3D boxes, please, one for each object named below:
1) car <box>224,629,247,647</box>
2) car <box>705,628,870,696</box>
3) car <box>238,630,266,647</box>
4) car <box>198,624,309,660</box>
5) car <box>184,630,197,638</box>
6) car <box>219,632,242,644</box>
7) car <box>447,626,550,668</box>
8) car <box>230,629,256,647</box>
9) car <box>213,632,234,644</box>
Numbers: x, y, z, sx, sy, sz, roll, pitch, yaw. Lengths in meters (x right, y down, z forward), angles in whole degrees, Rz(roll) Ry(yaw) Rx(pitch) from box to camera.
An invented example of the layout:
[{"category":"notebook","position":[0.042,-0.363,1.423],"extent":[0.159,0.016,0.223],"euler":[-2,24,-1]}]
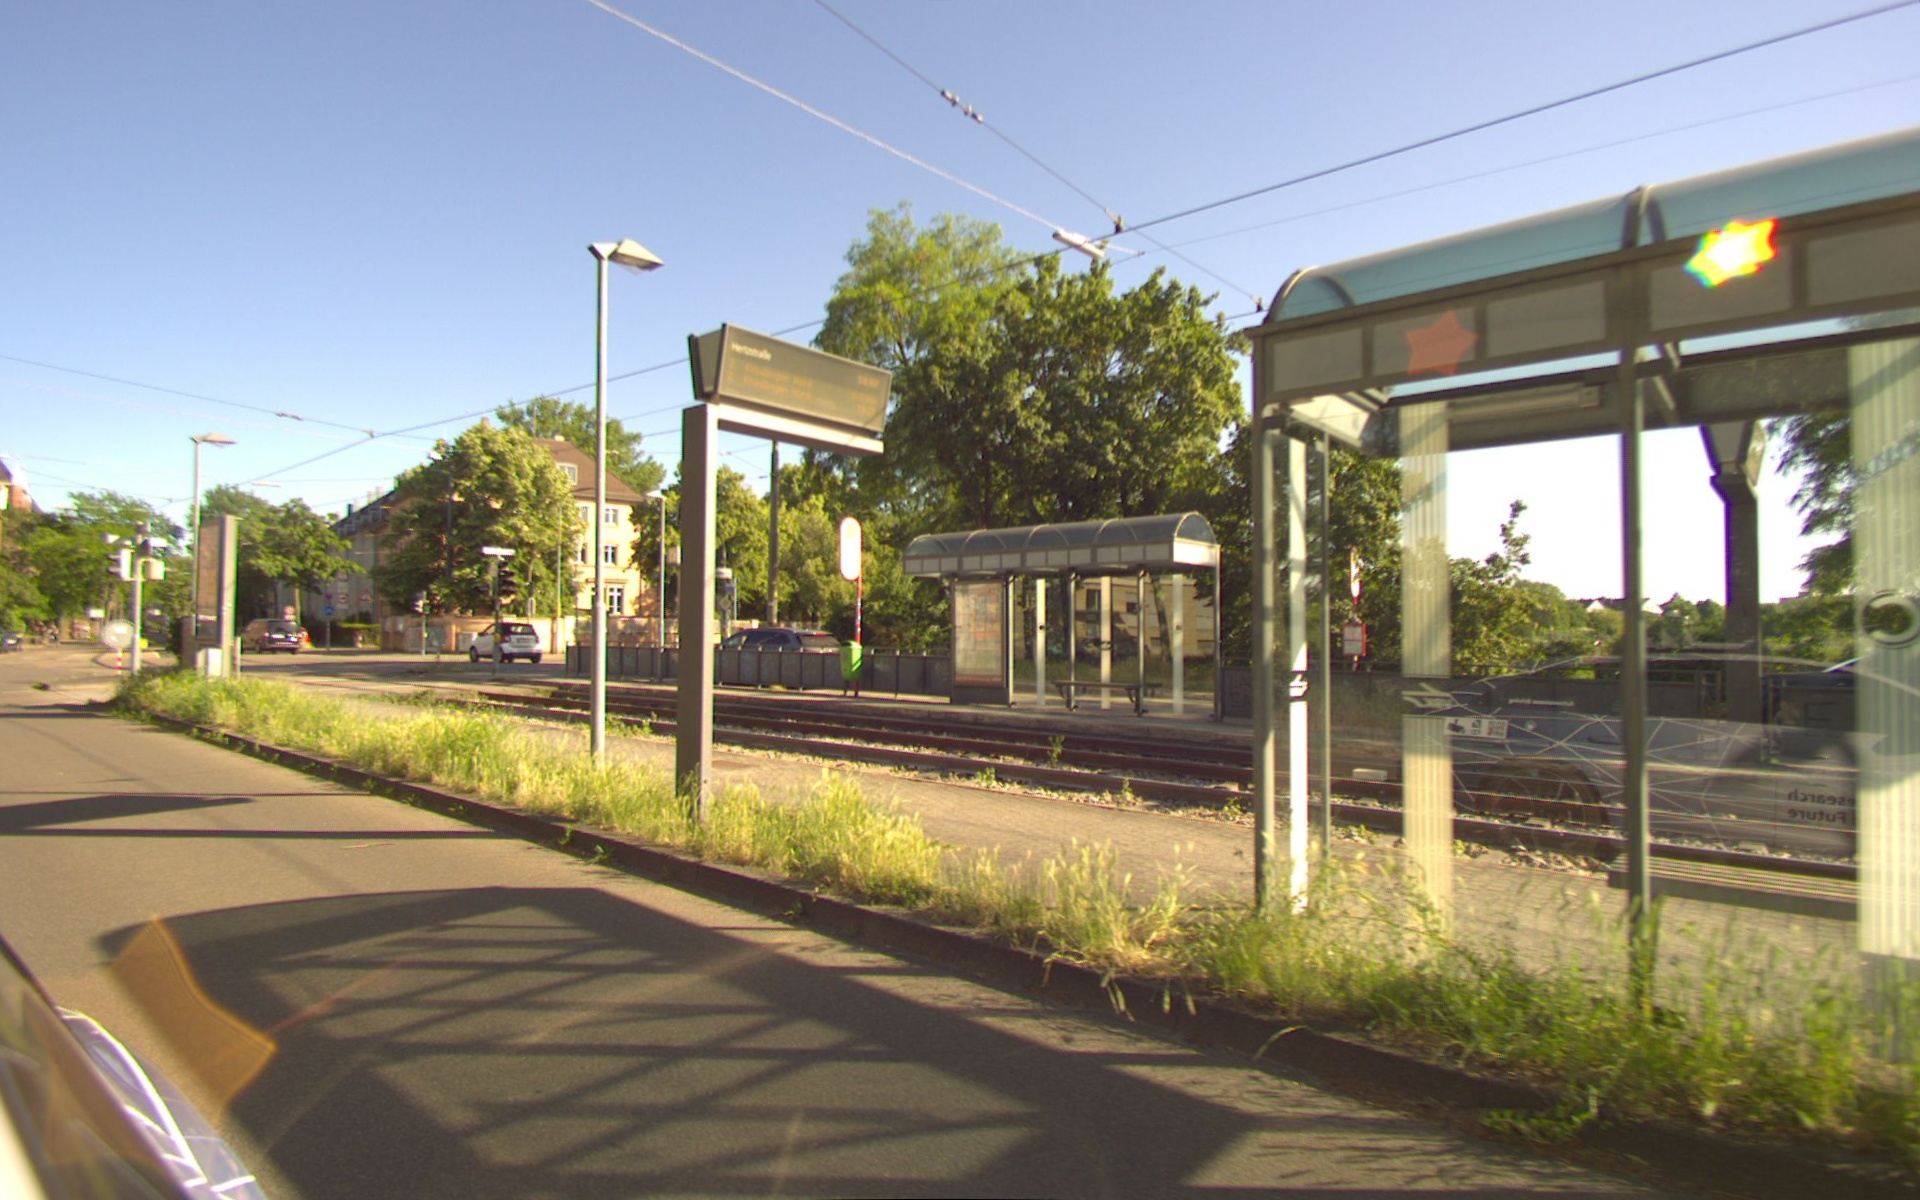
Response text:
[{"category":"car","position":[-80.978,4.207,113.096],"extent":[1.789,1.955,3.635],"euler":[2,-3,-41]},{"category":"car","position":[-4.206,1.429,24.393],"extent":[3.997,1.478,1.786],"euler":[-1,-2,41]},{"category":"car","position":[-67.749,3.702,96.785],"extent":[1.789,1.611,3.635],"euler":[2,-3,-41]},{"category":"car","position":[-36.538,2.150,52.363],"extent":[4.986,1.780,1.990],"euler":[0,-2,16]},{"category":"car","position":[-153.791,6.811,202.257],"extent":[1.789,1.430,3.635],"euler":[2,-3,-41]},{"category":"car","position":[-86.820,4.558,120.422],"extent":[1.789,1.430,3.635],"euler":[2,-3,-41]},{"category":"car","position":[-17.960,1.802,39.310],"extent":[3.992,1.579,1.903],"euler":[-1,-3,36]},{"category":"car","position":[-75.162,3.977,106.111],"extent":[1.789,1.839,3.801],"euler":[2,-3,-41]},{"category":"car","position":[-92.626,4.806,127.219],"extent":[1.789,1.430,3.635],"euler":[2,-3,-41]}]
